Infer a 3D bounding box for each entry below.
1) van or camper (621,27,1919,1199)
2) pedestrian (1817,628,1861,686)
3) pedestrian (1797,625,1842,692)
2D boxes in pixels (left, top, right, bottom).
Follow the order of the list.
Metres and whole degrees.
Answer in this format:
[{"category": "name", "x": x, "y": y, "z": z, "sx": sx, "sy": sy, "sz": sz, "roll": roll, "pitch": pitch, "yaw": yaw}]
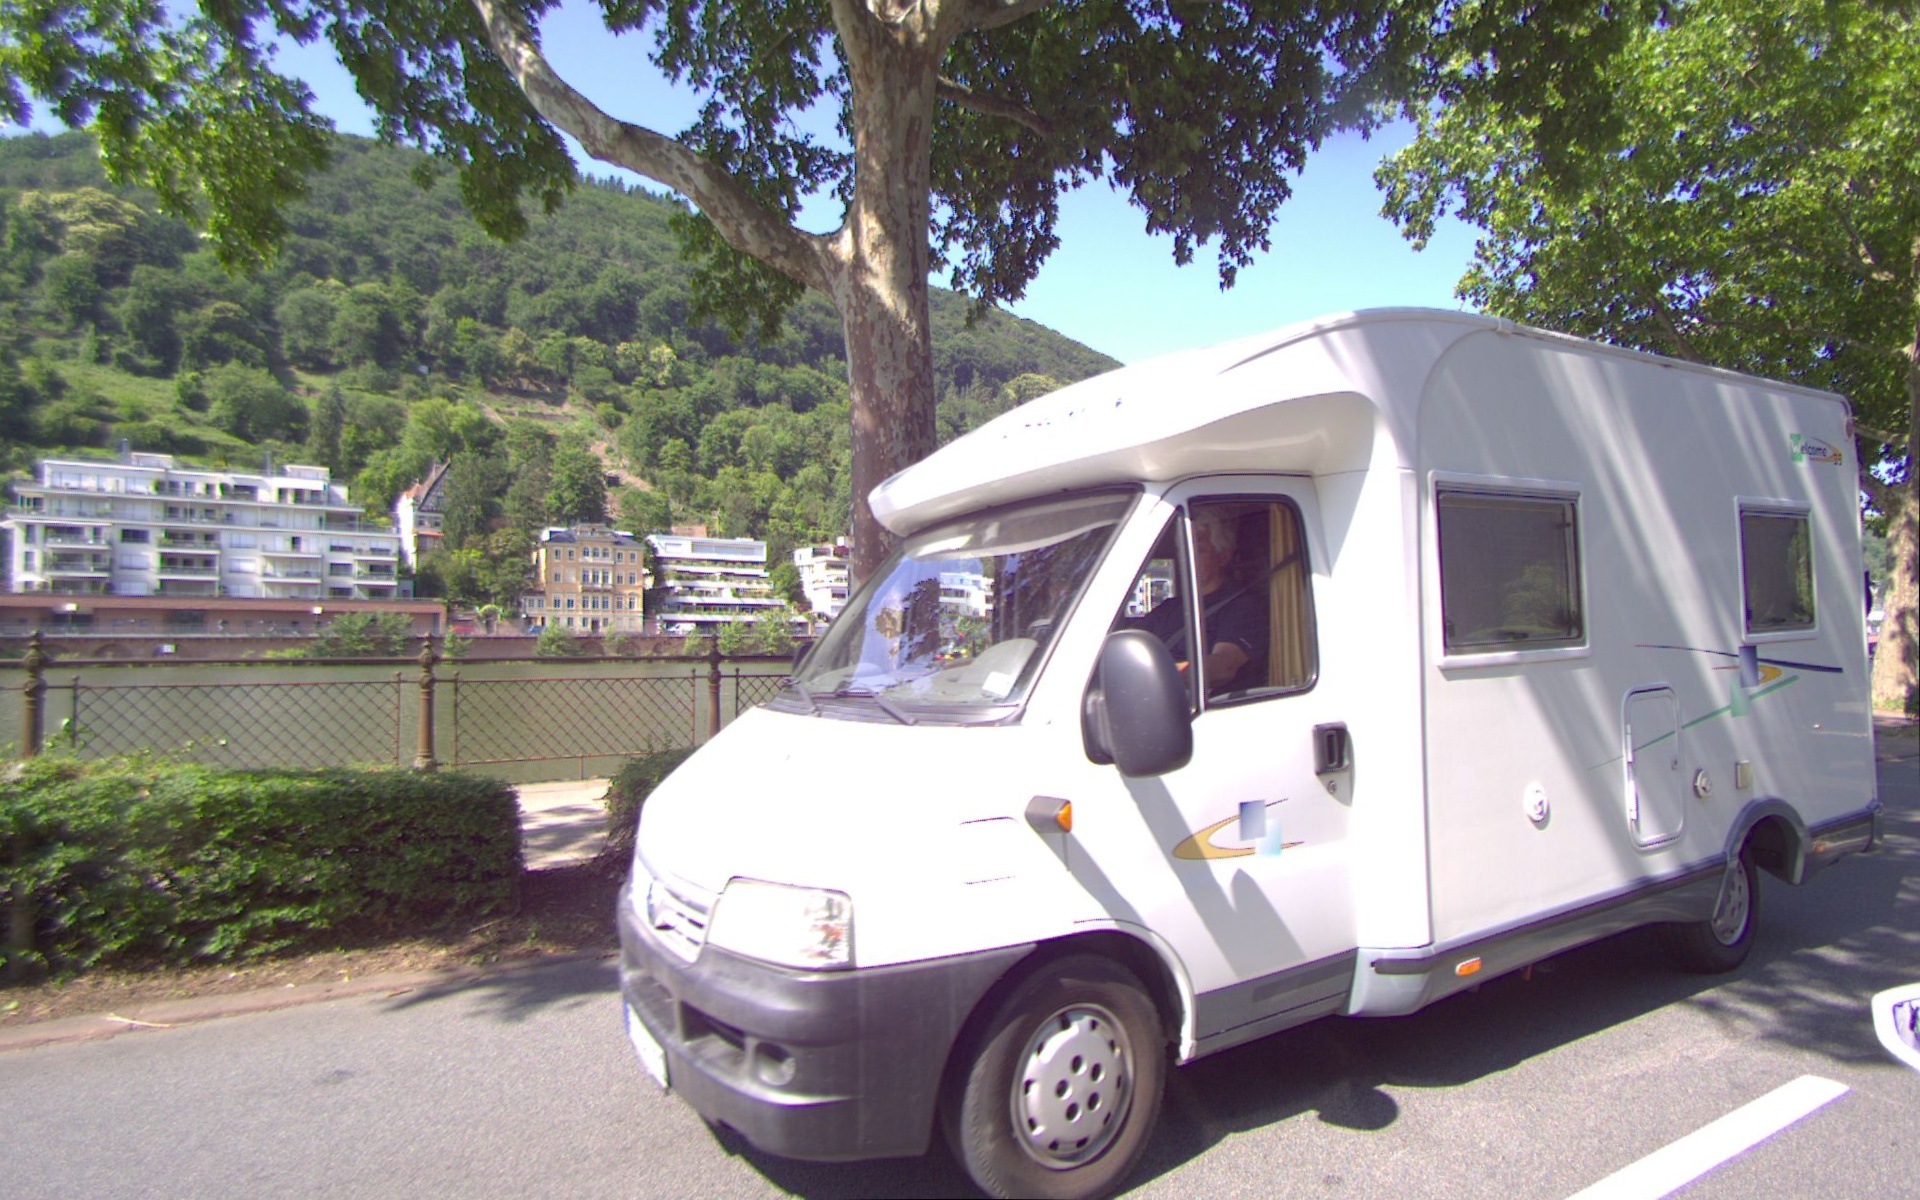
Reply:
[{"category": "van or camper", "x": 1.871, "y": 0.277, "z": 4.687, "sx": 6.193, "sy": 2.696, "sz": 2.311, "roll": 2, "pitch": -4, "yaw": -31}, {"category": "pedestrian", "x": 24.944, "y": 1.622, "z": 28.506, "sx": 0.696, "sy": 1.624, "sz": 0.701, "roll": 1, "pitch": -3, "yaw": -29}, {"category": "pedestrian", "x": 23.957, "y": 1.625, "z": 27.995, "sx": 0.696, "sy": 1.820, "sz": 0.701, "roll": 1, "pitch": -3, "yaw": -29}]
